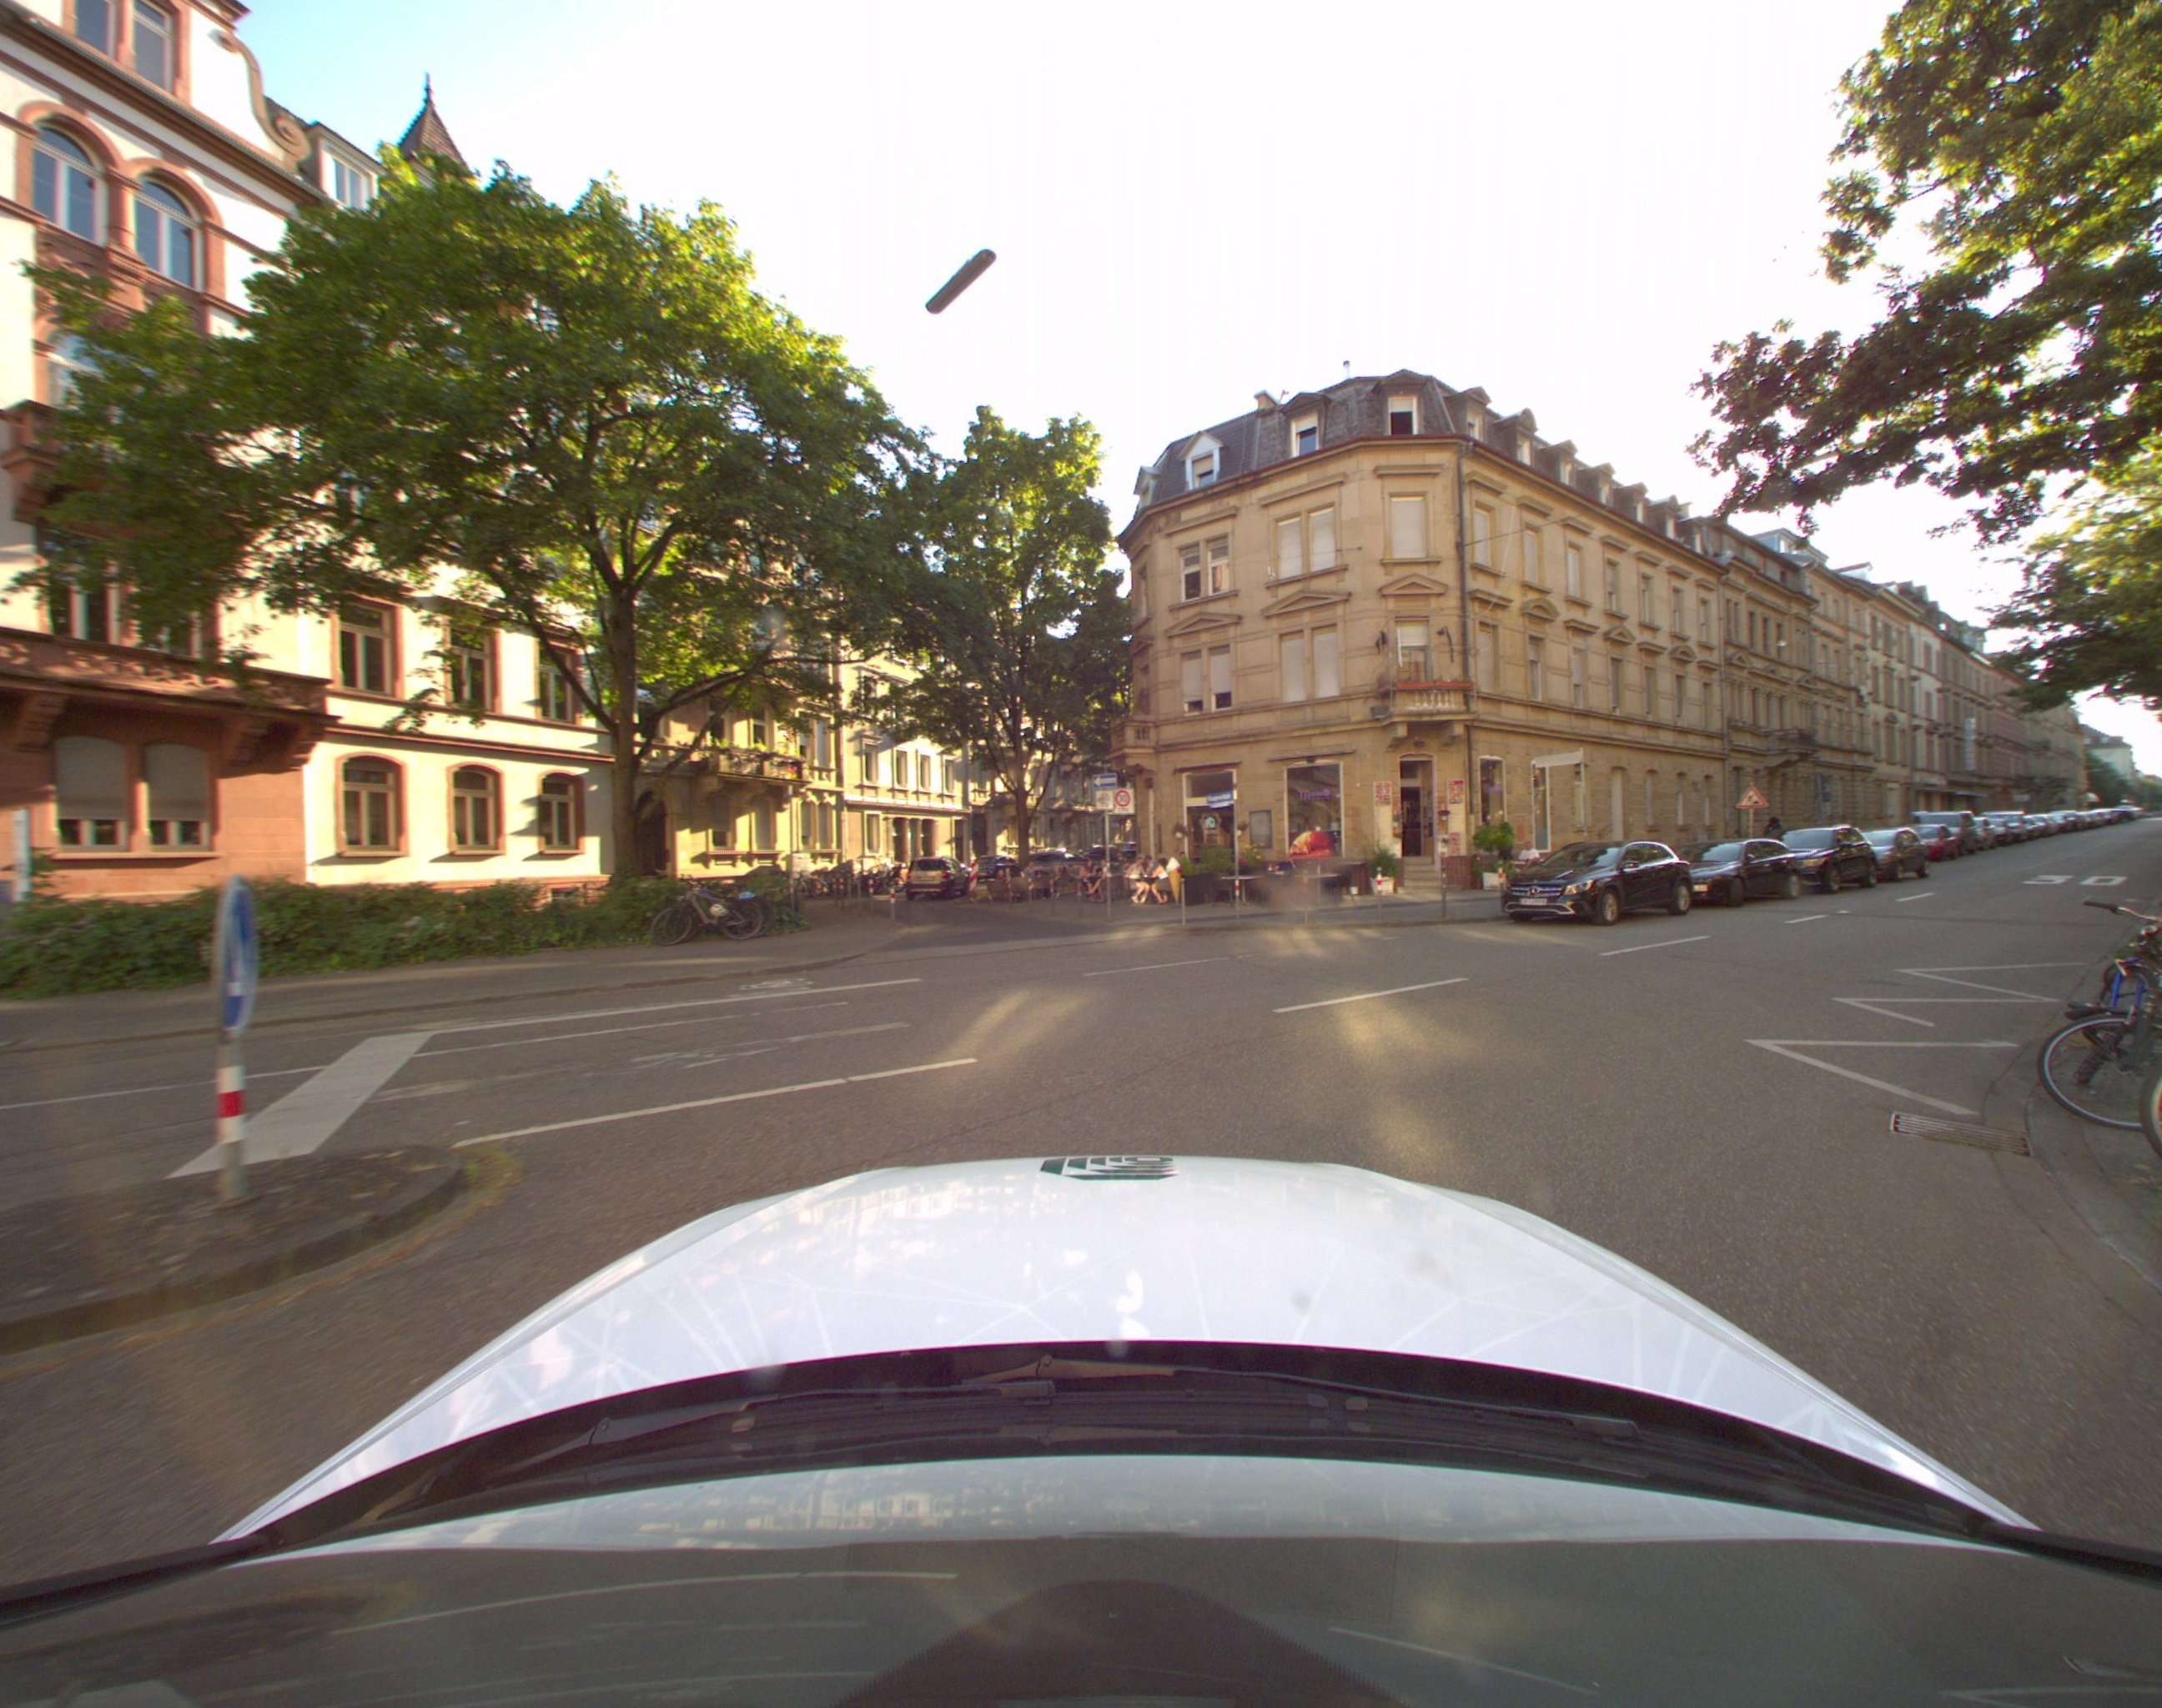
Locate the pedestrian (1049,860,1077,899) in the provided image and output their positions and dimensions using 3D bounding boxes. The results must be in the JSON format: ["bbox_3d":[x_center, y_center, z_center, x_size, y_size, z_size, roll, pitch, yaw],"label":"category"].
[{"bbox_3d":[-0.600,0.846,26.934,0.678,1.215,0.662,-3,-1,-24],"label":"pedestrian"}]

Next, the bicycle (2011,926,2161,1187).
[{"bbox_3d":[5.405,0.828,3.426,1.914,1.052,0.505,-4,-3,18],"label":"bicycle"}]

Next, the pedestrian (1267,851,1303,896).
[{"bbox_3d":[5.738,0.538,22.913,0.718,1.214,0.761,-2,0,36],"label":"pedestrian"}]

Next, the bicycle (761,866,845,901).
[{"bbox_3d":[-10.232,1.080,29.989,3.100,1.180,0.756,-2,0,20],"label":"bicycle"}]

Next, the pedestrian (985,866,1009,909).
[{"bbox_3d":[-2.672,1.057,25.945,0.573,1.320,0.501,-3,0,-24],"label":"pedestrian"}]

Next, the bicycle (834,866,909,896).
[{"bbox_3d":[-8.718,1.122,33.848,3.100,1.180,0.756,-2,0,20],"label":"bicycle"}]

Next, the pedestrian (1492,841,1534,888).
[{"bbox_3d":[11.852,0.279,22.342,0.760,1.259,0.719,-2,0,-37],"label":"pedestrian"}]

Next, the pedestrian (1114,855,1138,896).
[{"bbox_3d":[1.403,0.683,25.502,0.513,1.248,0.477,-3,0,-37],"label":"pedestrian"}]

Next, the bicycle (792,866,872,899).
[{"bbox_3d":[-9.646,1.095,31.510,3.100,1.180,0.756,-2,0,20],"label":"bicycle"}]

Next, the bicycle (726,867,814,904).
[{"bbox_3d":[-10.842,1.105,28.397,3.100,1.180,0.756,-2,0,20],"label":"bicycle"}]

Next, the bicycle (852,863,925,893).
[{"bbox_3d":[-8.264,1.046,34.906,3.100,1.180,0.756,-2,0,20],"label":"bicycle"}]

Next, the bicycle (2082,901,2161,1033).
[{"bbox_3d":[8.210,0.771,5.398,0.356,0.927,1.915,-1,-3,-35],"label":"bicycle"}]

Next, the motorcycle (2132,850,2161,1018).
[{"bbox_3d":[8.807,0.550,5.566,0.689,1.234,1.883,-2,-2,-34],"label":"motorcycle"}]

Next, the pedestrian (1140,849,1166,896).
[{"bbox_3d":[2.258,0.579,25.615,0.562,1.431,0.485,-2,0,44],"label":"pedestrian"}]

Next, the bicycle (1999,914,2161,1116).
[{"bbox_3d":[6.084,0.796,4.035,1.911,0.988,0.500,-5,-3,33],"label":"bicycle"}]

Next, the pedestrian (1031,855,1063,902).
[{"bbox_3d":[-1.090,0.775,26.196,0.768,1.441,0.663,-3,-1,-23],"label":"pedestrian"}]

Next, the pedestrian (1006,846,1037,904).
[{"bbox_3d":[-1.904,0.662,25.886,0.768,1.770,0.568,-3,-1,-23],"label":"pedestrian"}]

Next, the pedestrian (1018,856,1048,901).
[{"bbox_3d":[-1.610,0.799,27.083,0.768,1.441,0.663,-3,-1,-22],"label":"pedestrian"}]

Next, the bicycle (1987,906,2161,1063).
[{"bbox_3d":[7.039,0.861,5.531,1.406,0.927,0.354,-3,-3,-5],"label":"bicycle"}]

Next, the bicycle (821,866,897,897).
[{"bbox_3d":[-9.014,1.112,33.051,3.100,1.180,0.756,-2,0,20],"label":"bicycle"}]

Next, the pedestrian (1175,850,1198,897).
[{"bbox_3d":[3.136,0.565,24.221,0.436,1.367,0.476,-3,0,-43],"label":"pedestrian"}]

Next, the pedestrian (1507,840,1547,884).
[{"bbox_3d":[12.688,0.215,23.169,0.760,1.214,0.719,-2,0,-37],"label":"pedestrian"}]

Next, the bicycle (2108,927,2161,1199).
[{"bbox_3d":[5.260,0.799,2.958,1.914,1.094,0.427,-4,-3,18],"label":"bicycle"}]

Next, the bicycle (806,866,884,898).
[{"bbox_3d":[-9.367,1.104,32.277,3.100,1.180,0.756,-2,0,20],"label":"bicycle"}]

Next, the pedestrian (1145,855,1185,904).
[{"bbox_3d":[2.275,0.695,22.161,0.747,1.289,0.736,-2,0,-45],"label":"pedestrian"}]

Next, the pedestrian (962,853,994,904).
[{"bbox_3d":[-3.473,0.816,27.398,0.770,1.670,0.660,-2,-1,-36],"label":"pedestrian"}]

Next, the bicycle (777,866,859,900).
[{"bbox_3d":[-9.936,1.086,30.726,3.100,1.180,0.756,-2,0,20],"label":"bicycle"}]

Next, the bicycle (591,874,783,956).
[{"bbox_3d":[-6.859,1.022,14.327,2.968,1.196,0.542,-2,0,-31],"label":"bicycle"}]

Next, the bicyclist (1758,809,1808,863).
[{"bbox_3d":[24.528,-0.640,28.459,1.212,1.789,0.988,-4,1,-34],"label":"bicyclist"}]

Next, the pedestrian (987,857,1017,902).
[{"bbox_3d":[-2.603,0.844,26.871,0.767,1.412,0.663,-3,-1,-21],"label":"pedestrian"}]

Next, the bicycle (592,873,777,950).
[{"bbox_3d":[-7.160,0.999,14.834,2.968,1.196,0.542,-2,0,-31],"label":"bicycle"}]
